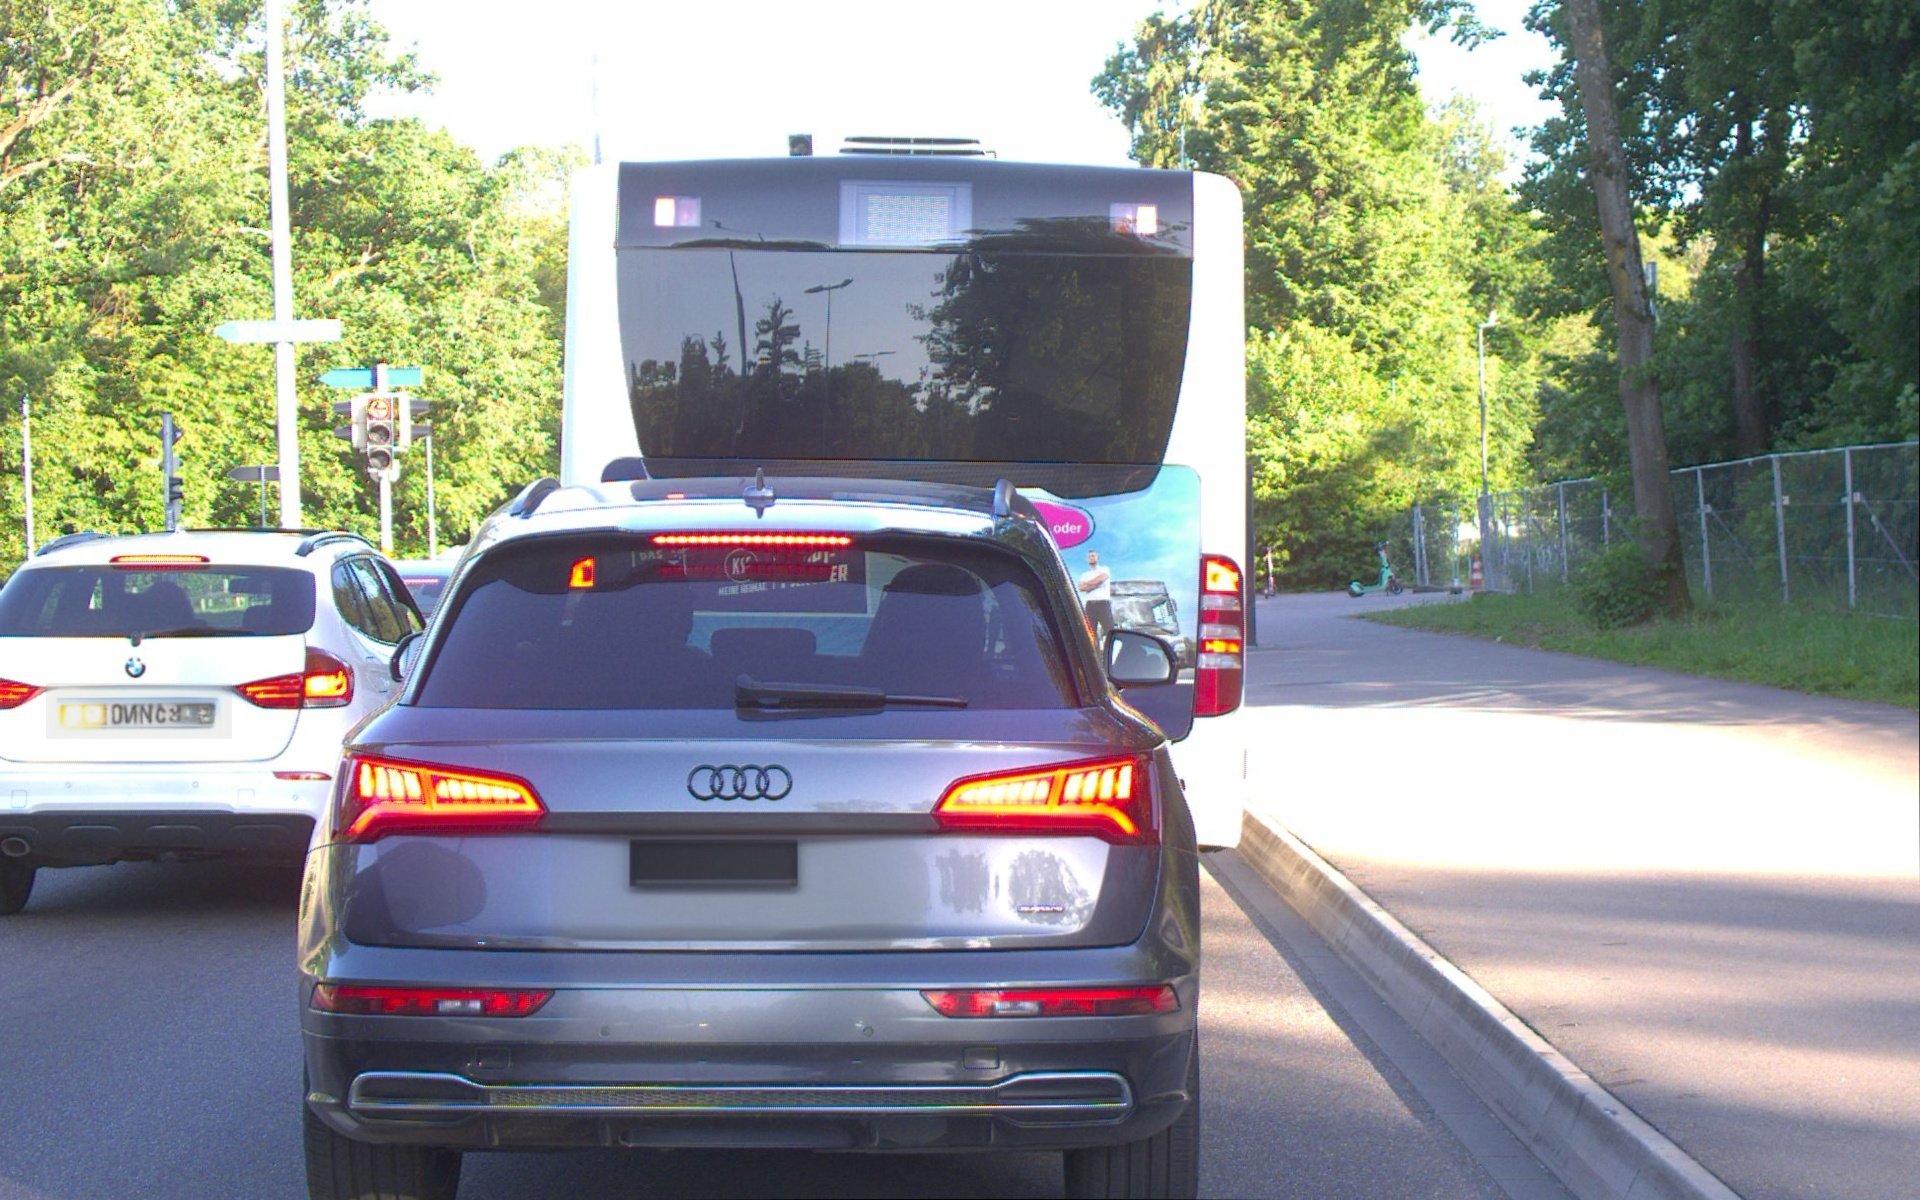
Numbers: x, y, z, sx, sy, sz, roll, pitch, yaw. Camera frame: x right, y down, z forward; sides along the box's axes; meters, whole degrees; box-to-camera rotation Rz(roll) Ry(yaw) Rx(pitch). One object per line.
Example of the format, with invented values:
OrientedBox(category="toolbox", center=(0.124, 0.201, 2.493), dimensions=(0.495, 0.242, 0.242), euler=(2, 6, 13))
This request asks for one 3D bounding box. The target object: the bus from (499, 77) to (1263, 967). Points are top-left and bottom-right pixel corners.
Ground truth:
OrientedBox(category="bus", center=(-0.252, -0.355, 15.173), dimensions=(2.678, 3.131, 5.882), euler=(1, 2, 1))

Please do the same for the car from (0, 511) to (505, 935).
OrientedBox(category="car", center=(-3.138, 0.459, 15.115), dimensions=(1.718, 1.575, 4.434), euler=(1, 0, -1))

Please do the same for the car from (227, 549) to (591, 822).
OrientedBox(category="car", center=(-3.295, 0.447, 21.277), dimensions=(1.785, 1.439, 4.279), euler=(1, 2, -3))

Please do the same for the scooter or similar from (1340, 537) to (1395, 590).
OrientedBox(category="scooter or similar", center=(9.242, -0.828, 77.987), dimensions=(1.184, 1.170, 0.659), euler=(1, 1, 11))

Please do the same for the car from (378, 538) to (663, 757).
OrientedBox(category="car", center=(-3.455, 0.320, 27.679), dimensions=(1.808, 1.567, 4.000), euler=(1, 2, -1))

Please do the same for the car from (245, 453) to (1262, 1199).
OrientedBox(category="car", center=(-0.408, 0.514, 8.382), dimensions=(1.868, 1.658, 4.000), euler=(1, 2, -1))
